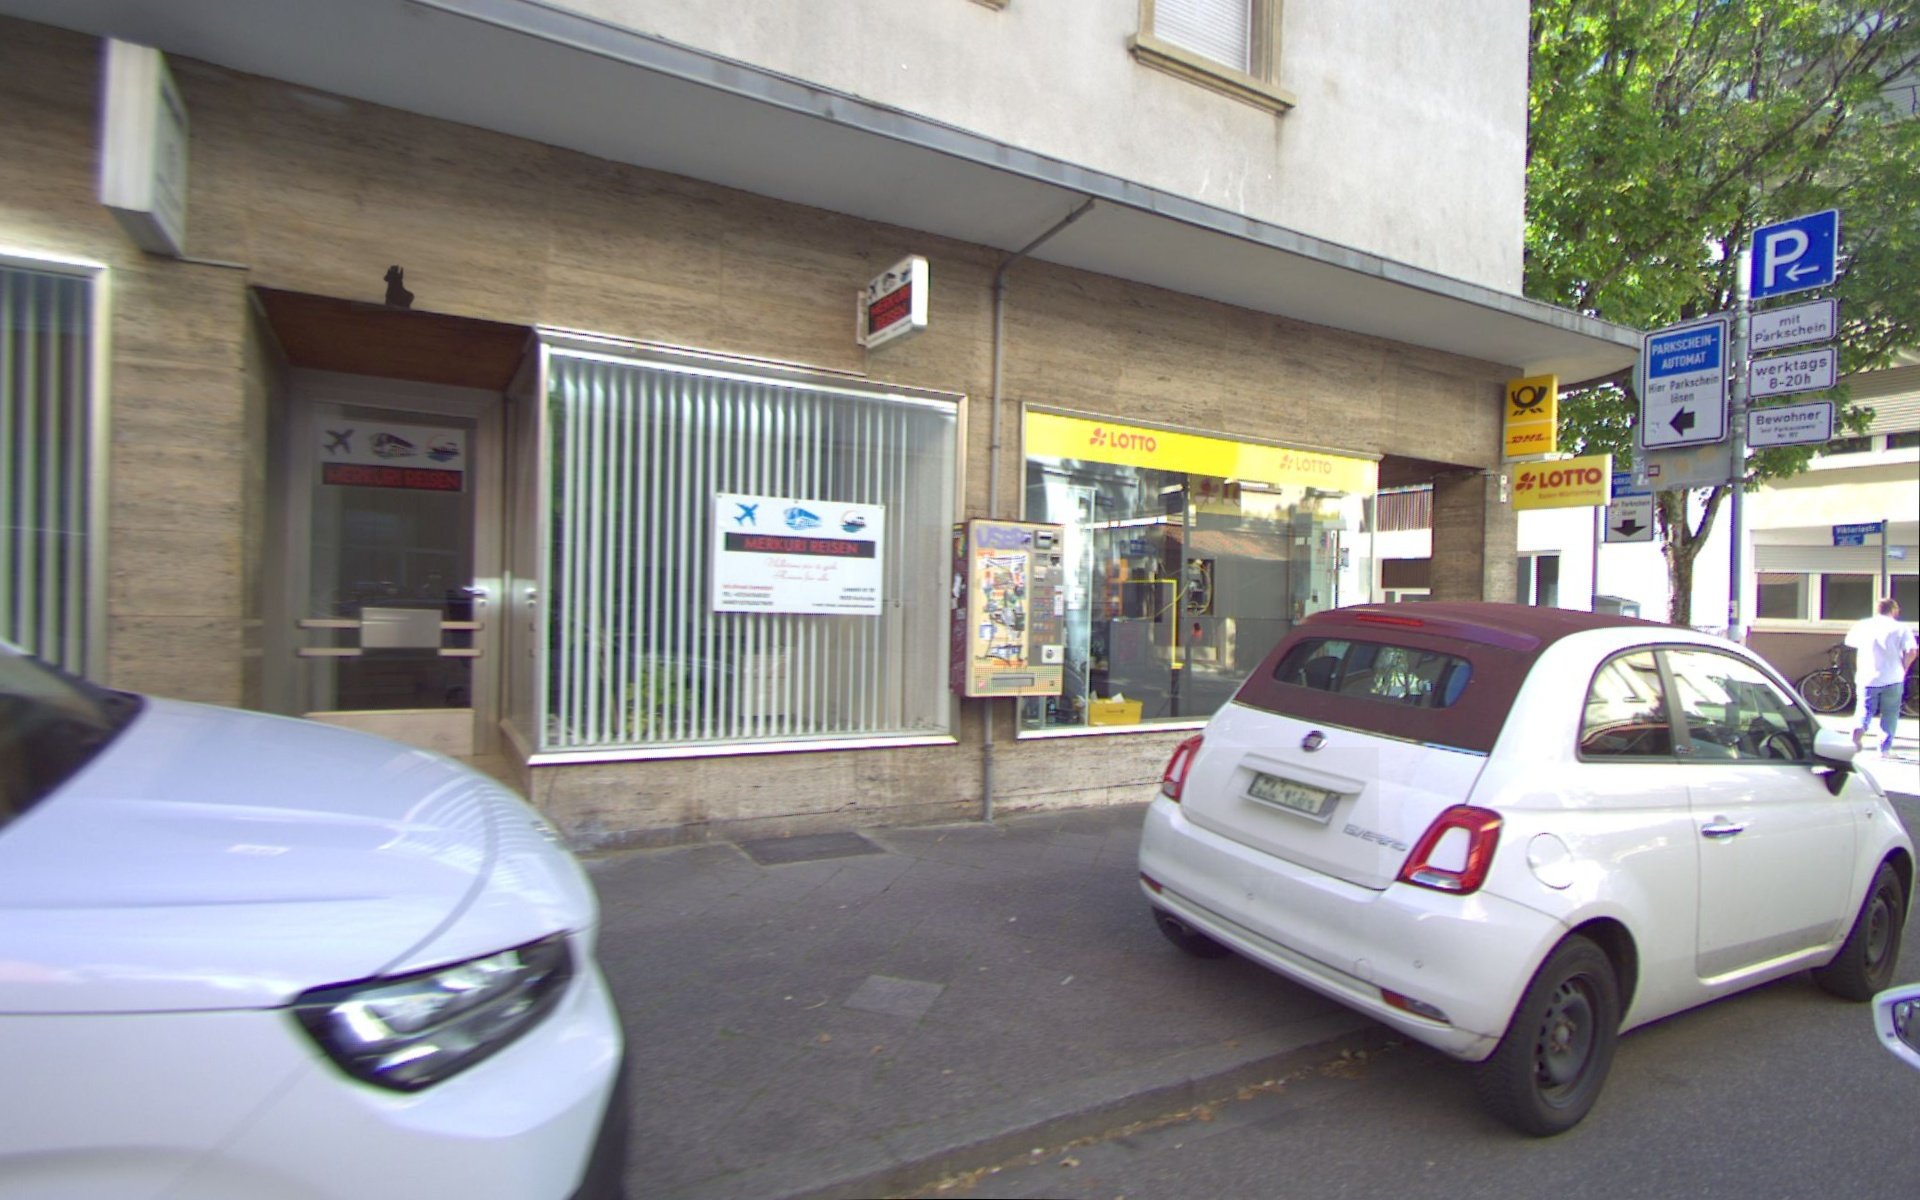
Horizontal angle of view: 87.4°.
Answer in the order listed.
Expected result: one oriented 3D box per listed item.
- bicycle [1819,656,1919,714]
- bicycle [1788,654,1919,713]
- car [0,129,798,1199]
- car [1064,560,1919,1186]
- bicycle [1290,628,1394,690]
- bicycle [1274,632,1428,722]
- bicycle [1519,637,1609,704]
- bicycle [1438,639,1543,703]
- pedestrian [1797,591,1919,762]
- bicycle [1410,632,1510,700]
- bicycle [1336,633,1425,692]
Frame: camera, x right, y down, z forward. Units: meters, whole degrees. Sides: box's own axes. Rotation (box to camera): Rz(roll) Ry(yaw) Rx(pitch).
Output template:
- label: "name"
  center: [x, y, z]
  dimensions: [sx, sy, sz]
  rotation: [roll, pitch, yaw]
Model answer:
- label: "bicycle"
  center: [15.229, 1.401, 16.607]
  dimensions: [1.553, 0.909, 0.404]
  rotation: [0, -1, 11]
- label: "bicycle"
  center: [15.201, 1.406, 17.035]
  dimensions: [1.825, 0.925, 0.383]
  rotation: [1, -1, 11]
- label: "car"
  center: [-2.707, 0.483, 0.921]
  dimensions: [4.754, 1.924, 1.758]
  rotation: [1, -2, -31]
- label: "car"
  center: [2.428, 0.738, 4.173]
  dimensions: [3.677, 1.581, 1.660]
  rotation: [2, 0, -29]
- label: "bicycle"
  center: [8.417, 1.272, 22.113]
  dimensions: [2.394, 1.162, 0.830]
  rotation: [-2, 2, -31]
- label: "bicycle"
  center: [5.492, 1.060, 14.047]
  dimensions: [2.280, 1.158, 0.704]
  rotation: [3, -1, -29]
- label: "bicycle"
  center: [10.766, 1.234, 17.882]
  dimensions: [2.039, 1.116, 0.479]
  rotation: [1, 0, -31]
- label: "bicycle"
  center: [9.896, 1.300, 18.721]
  dimensions: [2.155, 1.043, 0.637]
  rotation: [-1, 1, -28]
- label: "pedestrian"
  center: [10.511, 0.850, 11.602]
  dimensions: [1.231, 1.857, 0.906]
  rotation: [2, -1, -30]
- label: "bicycle"
  center: [9.651, 1.245, 19.345]
  dimensions: [2.411, 1.201, 0.500]
  rotation: [0, 0, -31]
- label: "bicycle"
  center: [8.834, 1.284, 21.084]
  dimensions: [1.973, 1.081, 0.676]
  rotation: [-2, 1, -31]
